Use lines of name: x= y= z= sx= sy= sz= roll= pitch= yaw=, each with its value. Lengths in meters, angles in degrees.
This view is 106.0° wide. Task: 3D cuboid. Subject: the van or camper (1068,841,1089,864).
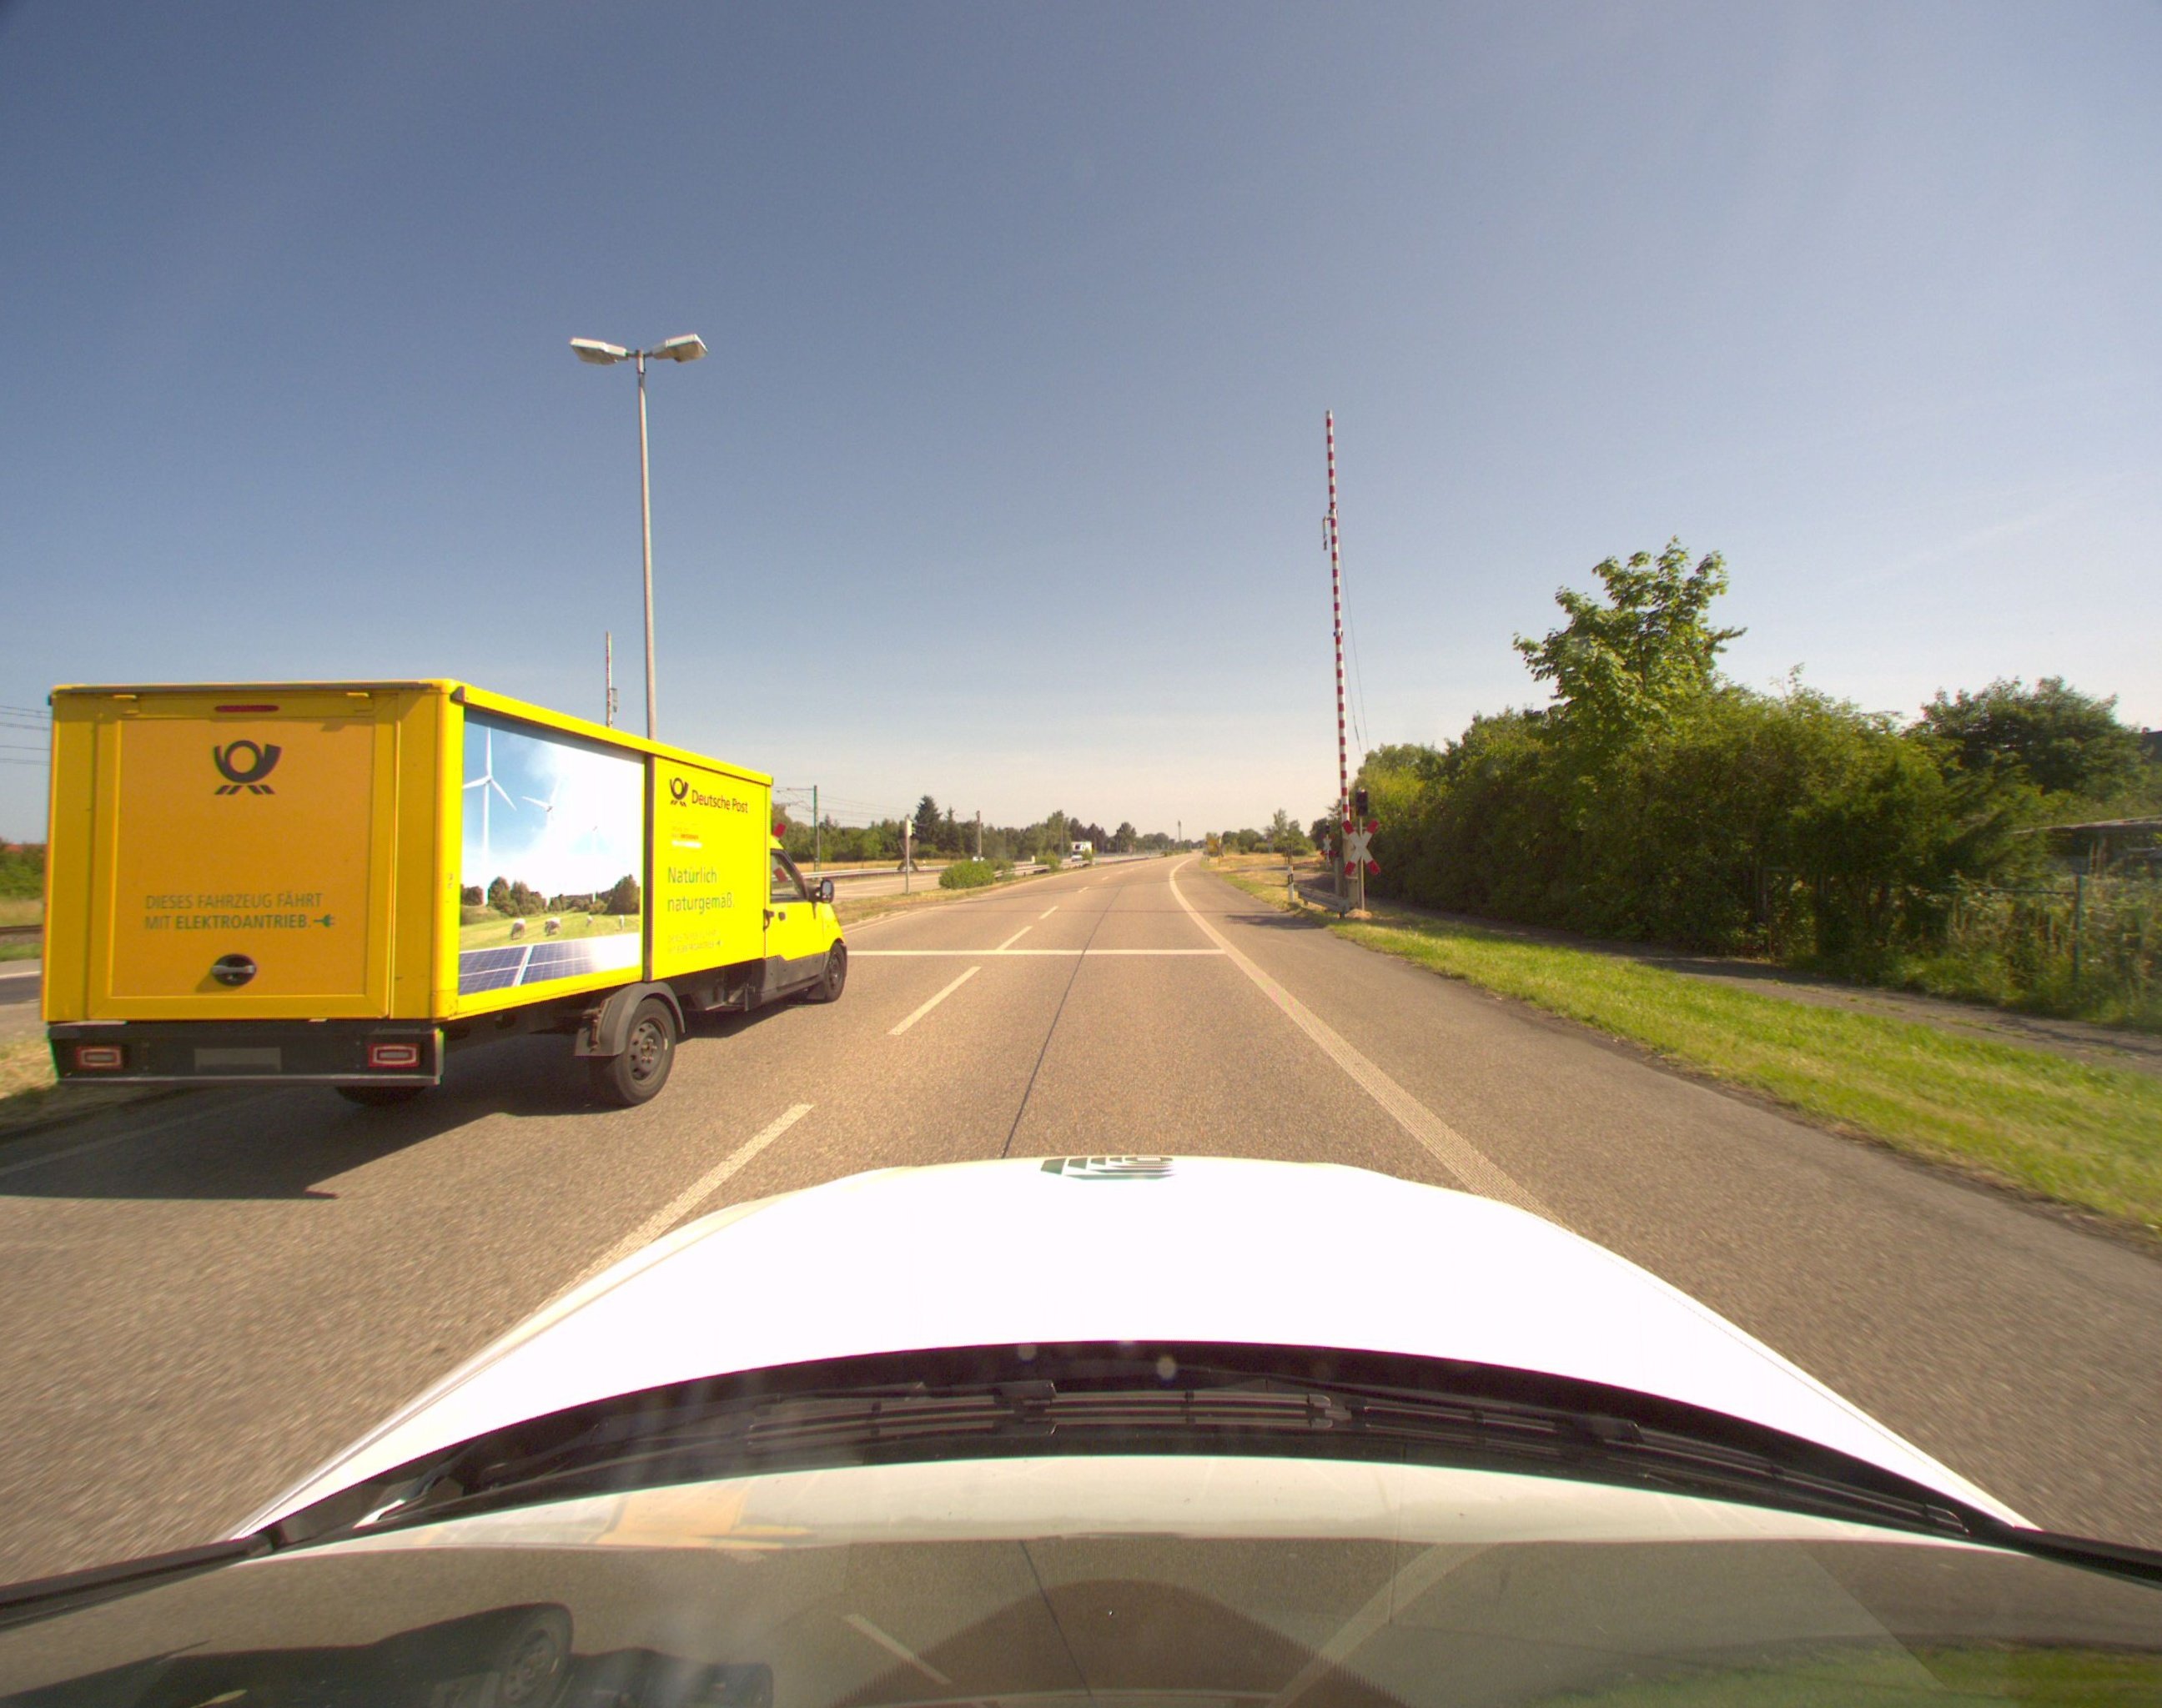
van or camper: x=-0.376 y=-0.240 z=137.395 sx=2.863 sy=3.680 sz=8.653 roll=-1 pitch=0 yaw=4

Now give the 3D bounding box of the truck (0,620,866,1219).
truck: x=-3.581 y=0.263 z=6.318 sx=2.104 sy=2.457 sz=5.918 roll=0 pitch=0 yaw=1
